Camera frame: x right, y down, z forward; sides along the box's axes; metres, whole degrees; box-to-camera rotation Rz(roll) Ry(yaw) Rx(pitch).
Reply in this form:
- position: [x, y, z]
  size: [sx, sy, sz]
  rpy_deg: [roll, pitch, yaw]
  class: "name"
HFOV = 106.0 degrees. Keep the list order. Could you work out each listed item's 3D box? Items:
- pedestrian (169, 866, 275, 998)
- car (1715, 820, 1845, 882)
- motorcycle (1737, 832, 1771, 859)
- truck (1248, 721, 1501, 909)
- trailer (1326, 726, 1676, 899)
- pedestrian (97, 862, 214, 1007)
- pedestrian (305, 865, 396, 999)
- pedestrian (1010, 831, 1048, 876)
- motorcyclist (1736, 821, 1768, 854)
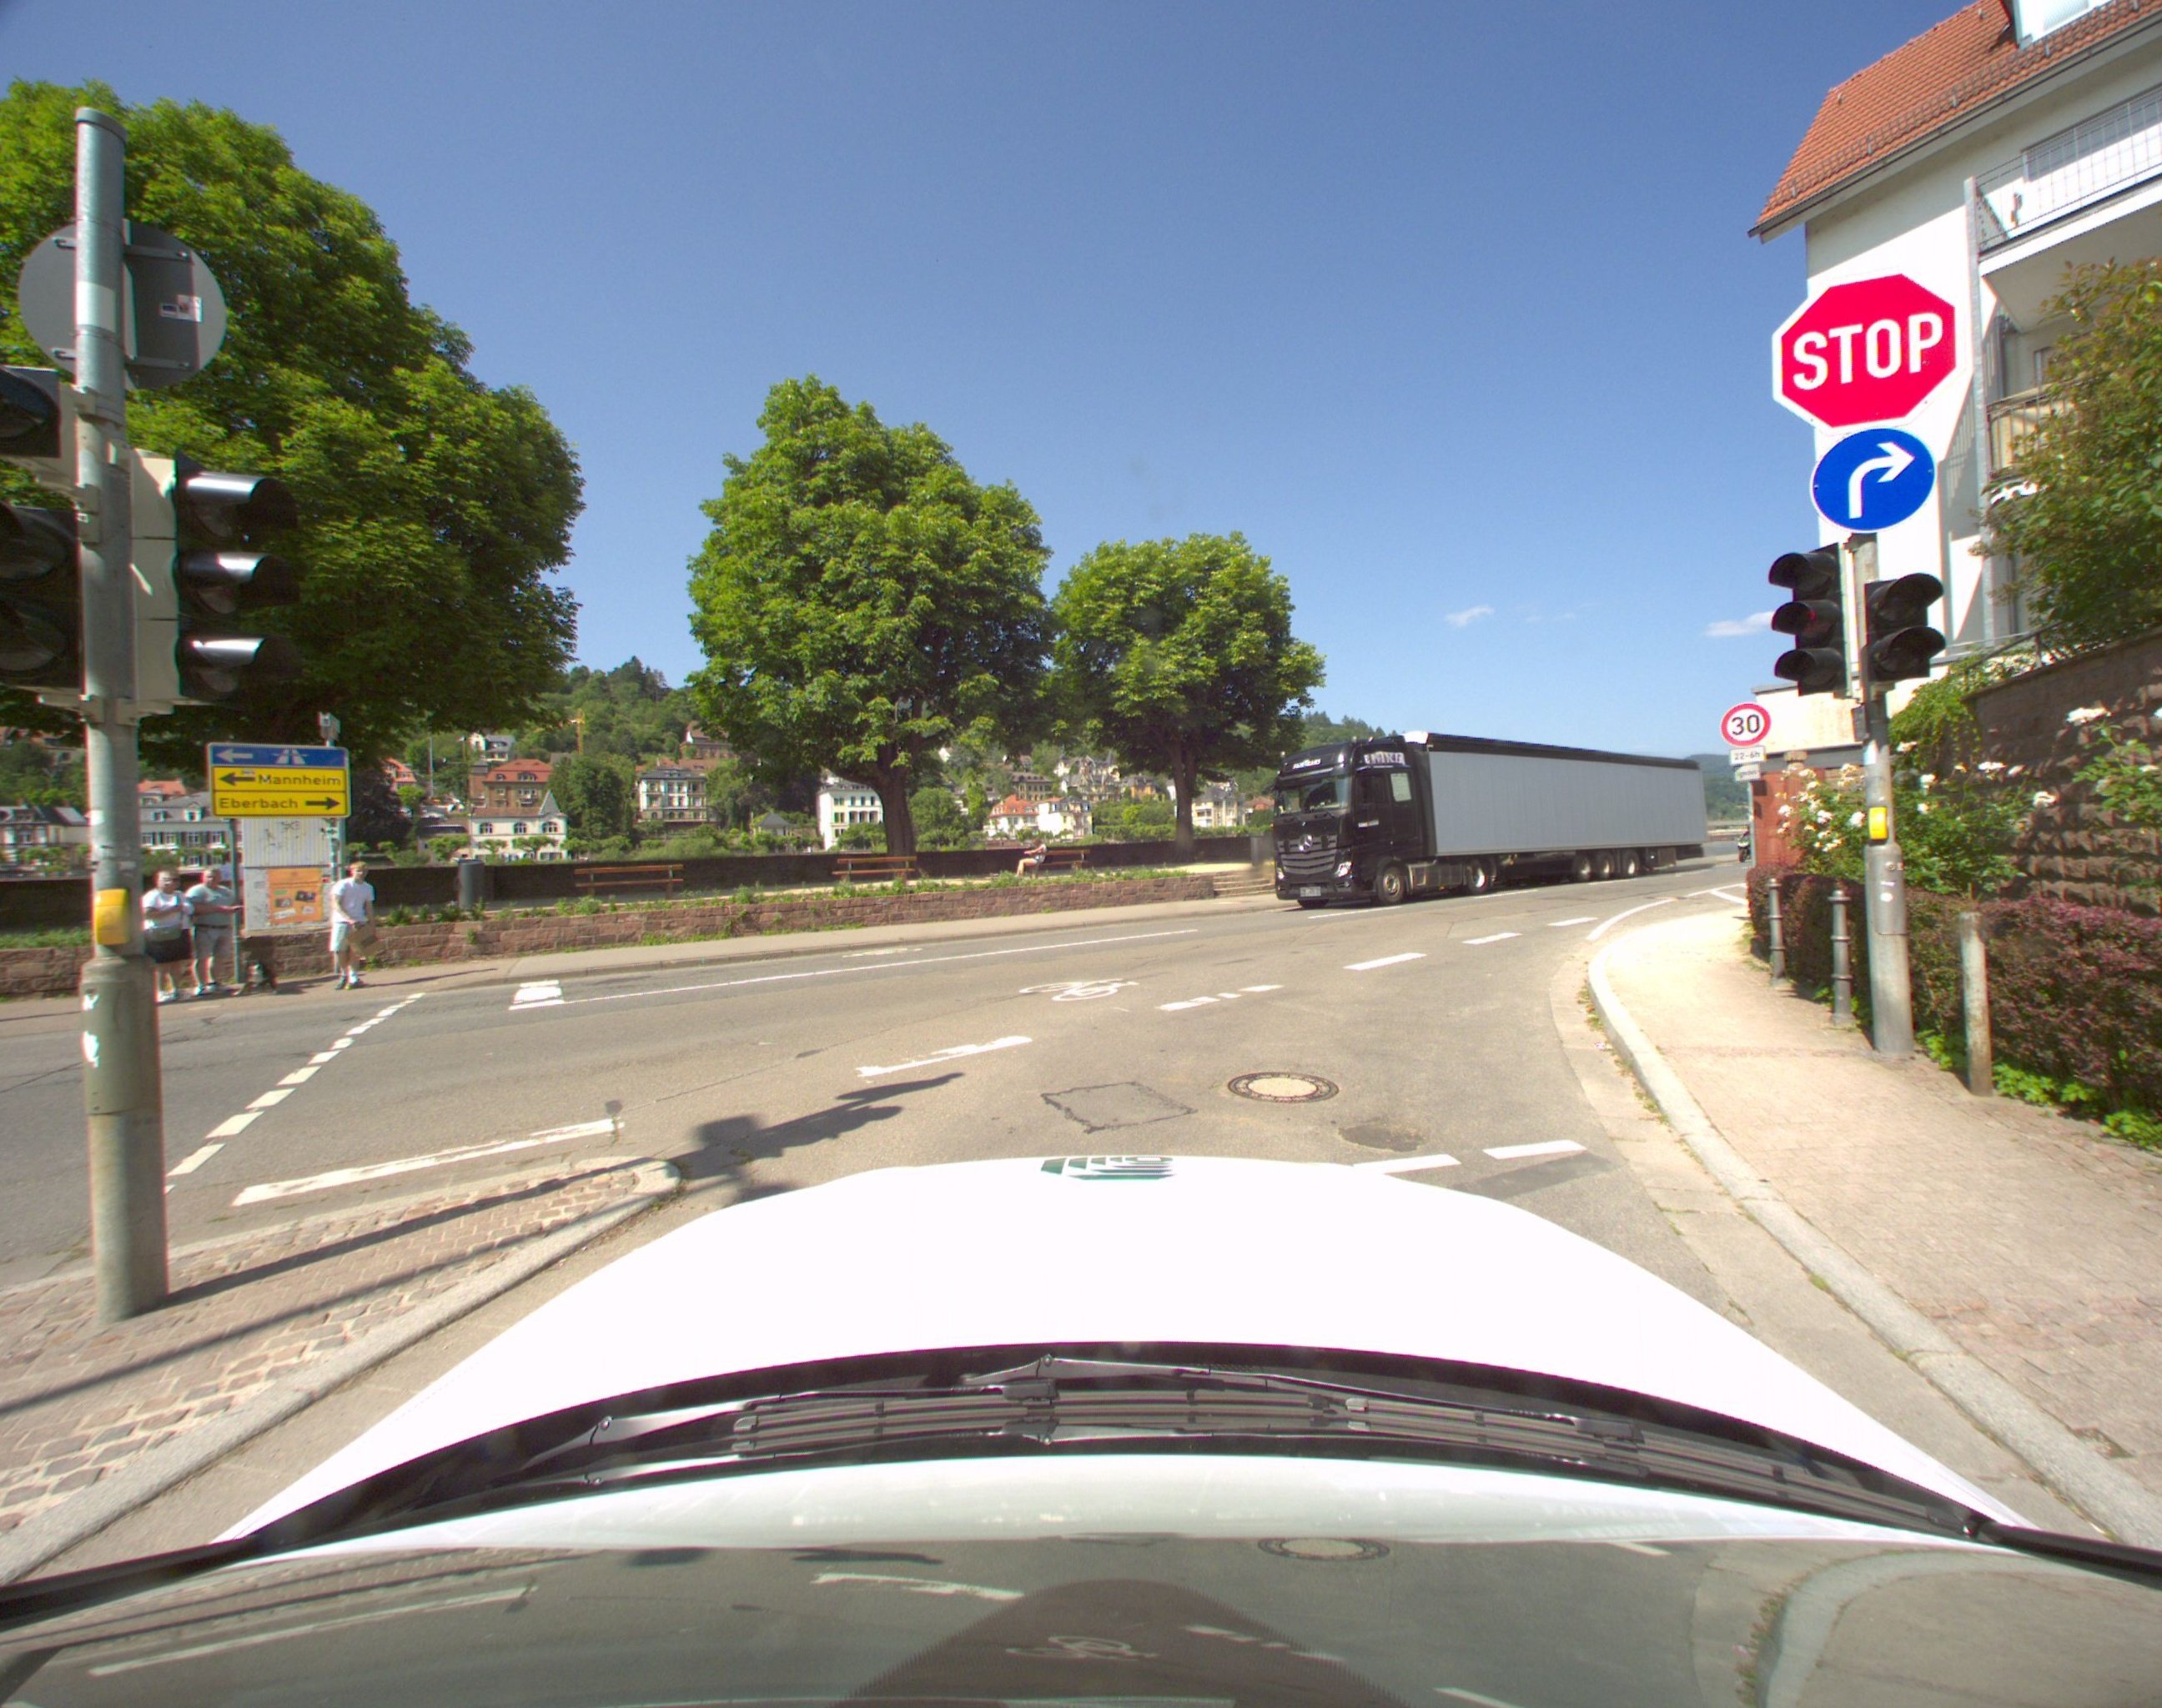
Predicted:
- position: [-12.106, 1.066, 11.499]
  size: [0.687, 1.769, 0.716]
  rpy_deg: [-3, -1, -7]
  class: "pedestrian"
- position: [18.096, -0.099, 21.047]
  size: [3.756, 1.399, 1.674]
  rpy_deg: [-2, -2, -36]
  class: "car"
- position: [30.988, -0.405, 37.478]
  size: [2.102, 1.123, 0.628]
  rpy_deg: [-2, -3, -36]
  class: "motorcycle"
- position: [7.468, -0.883, 20.516]
  size: [5.957, 4.071, 2.809]
  rpy_deg: [-2, -2, -34]
  class: "truck"
- position: [13.153, -1.176, 24.393]
  size: [13.827, 4.104, 2.812]
  rpy_deg: [-3, -2, -34]
  class: "trailer"
- position: [-12.252, 1.037, 10.799]
  size: [0.630, 1.802, 0.723]
  rpy_deg: [-4, -1, -3]
  class: "pedestrian"
- position: [-10.284, 1.067, 11.487]
  size: [0.575, 1.802, 0.706]
  rpy_deg: [-3, -1, 5]
  class: "pedestrian"
- position: [-1.454, -0.003, 22.913]
  size: [0.803, 1.211, 0.708]
  rpy_deg: [0, -5, -30]
  class: "pedestrian"
- position: [30.567, -0.752, 37.095]
  size: [0.996, 1.460, 0.772]
  rpy_deg: [-2, -2, -35]
  class: "motorcyclist"
